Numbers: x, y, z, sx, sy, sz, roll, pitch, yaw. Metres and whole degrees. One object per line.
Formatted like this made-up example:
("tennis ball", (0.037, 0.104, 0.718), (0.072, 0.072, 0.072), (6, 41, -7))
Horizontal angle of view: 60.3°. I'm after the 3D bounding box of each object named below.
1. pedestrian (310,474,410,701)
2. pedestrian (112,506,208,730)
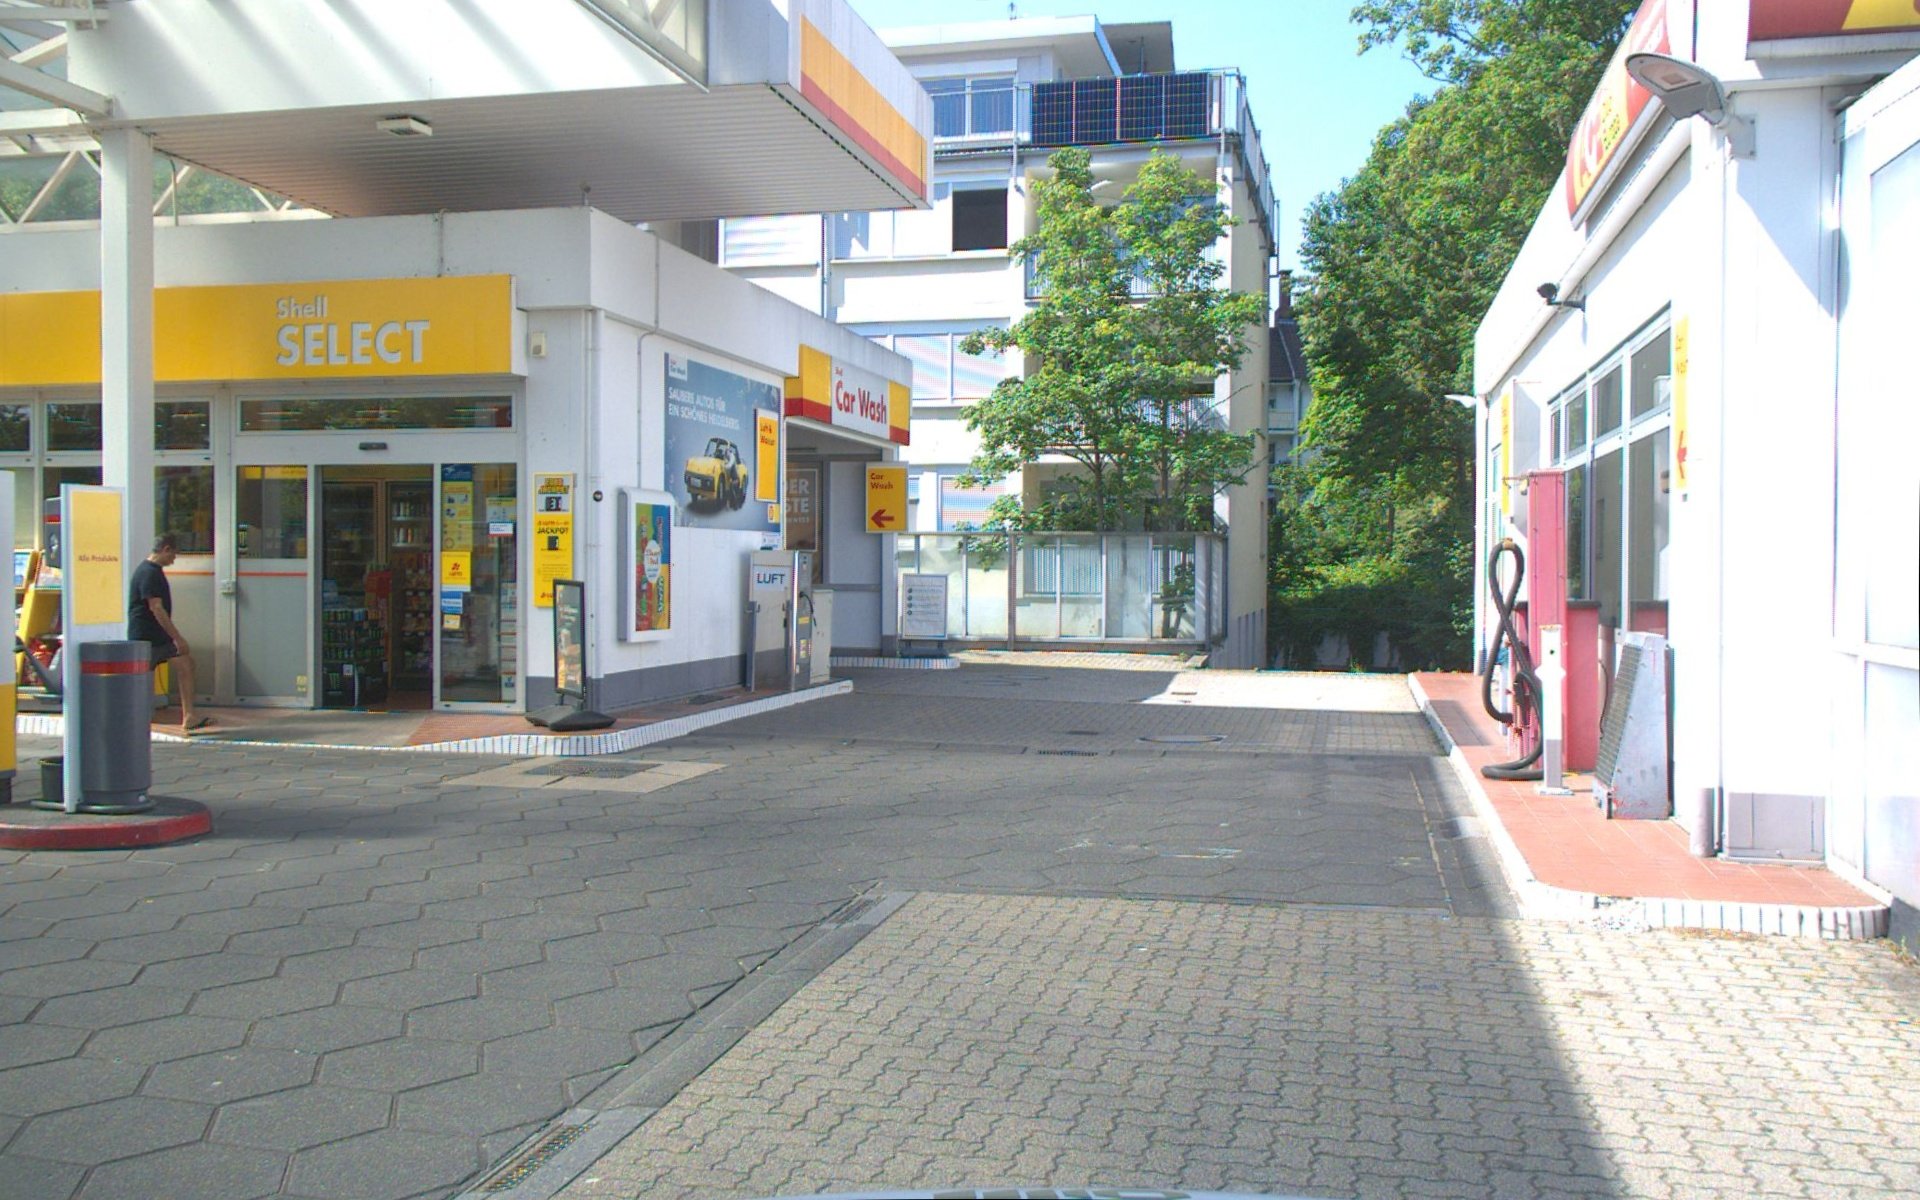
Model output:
("pedestrian", (-5.526, -0.120, 15.268), (0.608, 2.049, 0.743), (0, 1, 4))
("pedestrian", (-6.547, 0.139, 13.555), (0.561, 1.792, 0.529), (0, 1, -7))
